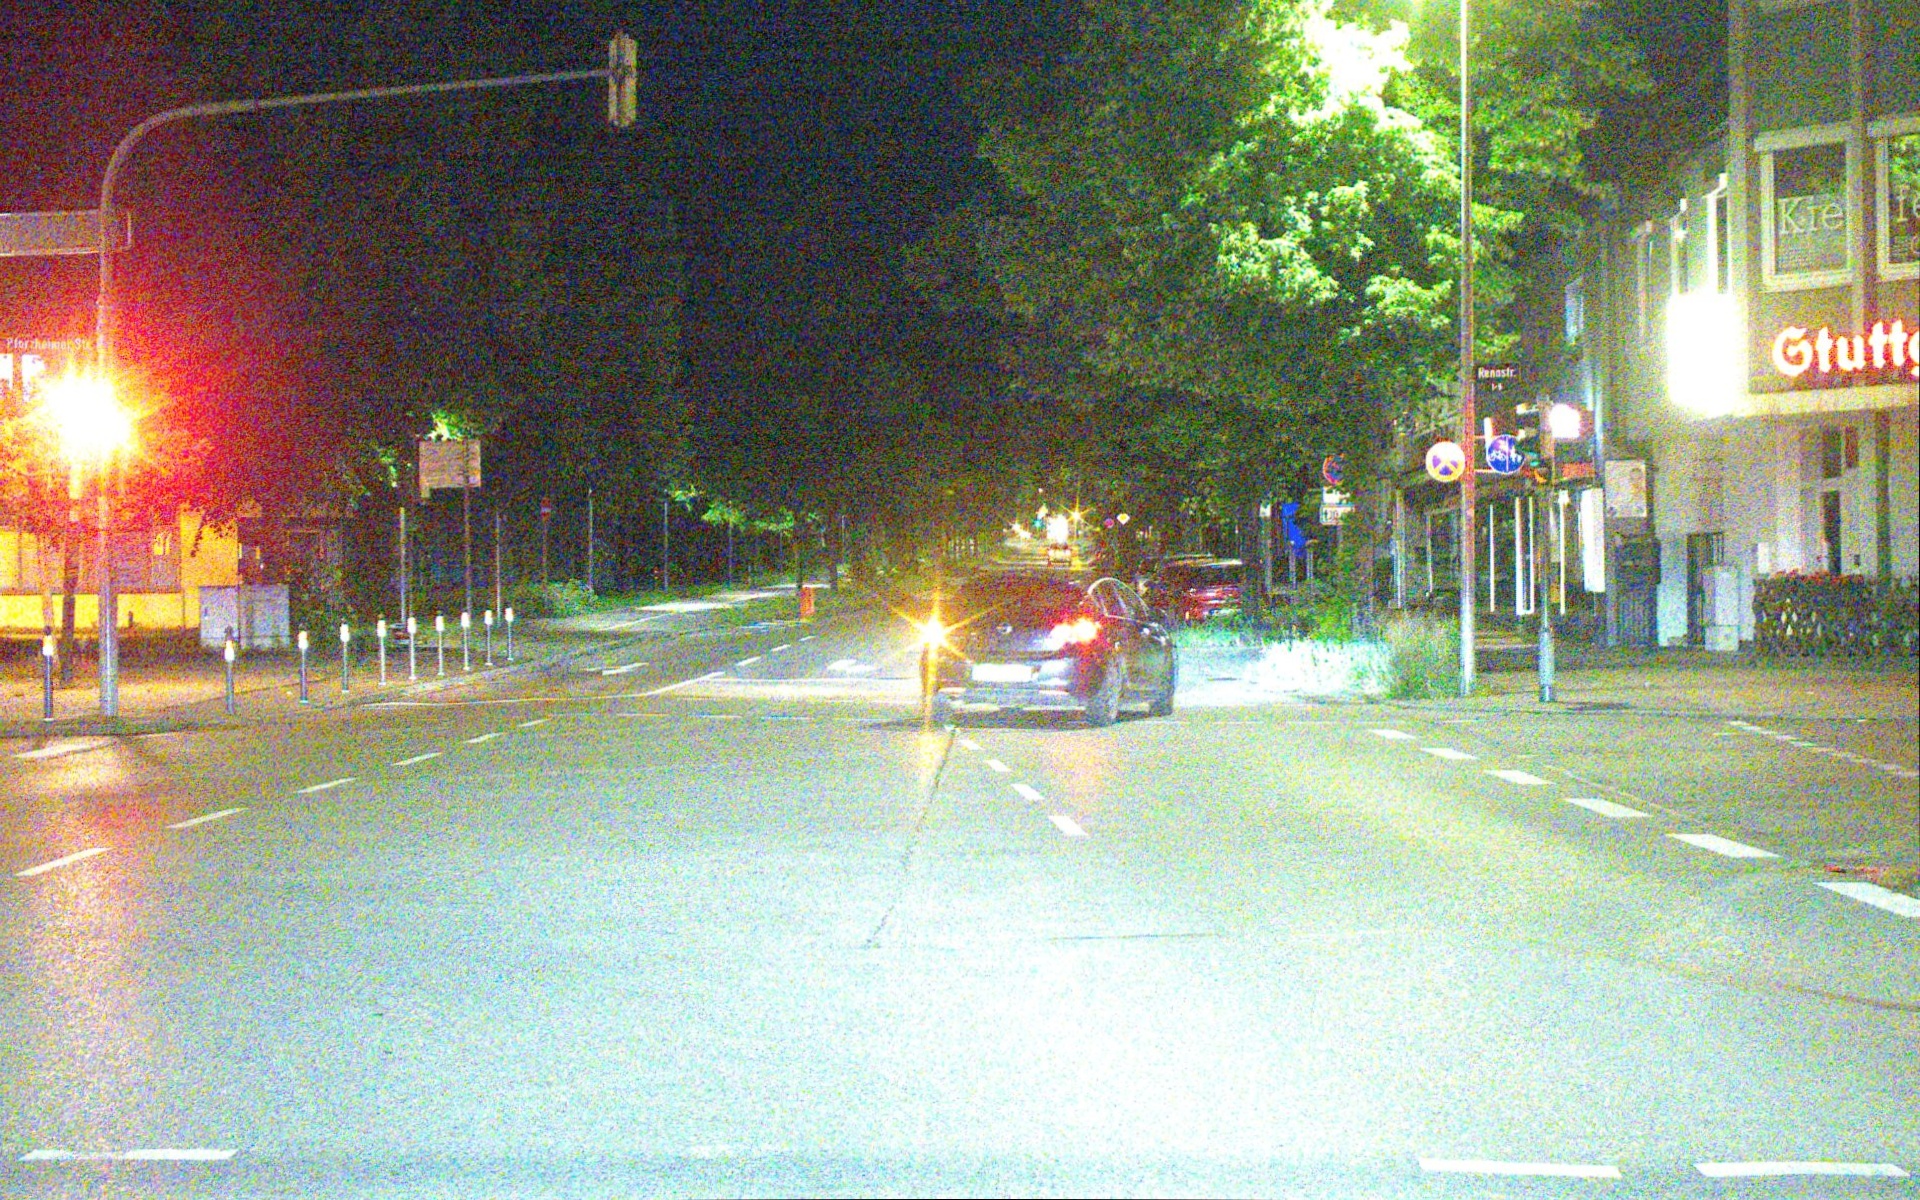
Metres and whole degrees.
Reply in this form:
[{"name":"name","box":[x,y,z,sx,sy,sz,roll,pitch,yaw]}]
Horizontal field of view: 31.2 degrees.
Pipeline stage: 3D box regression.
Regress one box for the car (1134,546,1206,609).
[{"name":"car","box":[5.746,-0.616,94.520,1.876,1.678,4.000,0,1,2]}]

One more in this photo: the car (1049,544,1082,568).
[{"name":"car","box":[7.243,-3.021,235.345,2.227,1.645,4.000,0,1,1]}]

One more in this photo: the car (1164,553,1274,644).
[{"name":"car","box":[4.753,-0.041,63.468,1.876,1.610,4.000,0,1,2]}]

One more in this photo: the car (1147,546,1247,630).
[{"name":"car","box":[4.709,-0.261,68.799,1.876,1.610,4.000,0,1,2]}]

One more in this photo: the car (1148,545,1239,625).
[{"name":"car","box":[5.168,-0.341,76.469,1.876,1.723,4.000,0,1,2]}]

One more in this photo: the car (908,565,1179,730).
[{"name":"car","box":[0.878,0.405,33.068,1.874,1.449,4.314,1,1,11]}]
